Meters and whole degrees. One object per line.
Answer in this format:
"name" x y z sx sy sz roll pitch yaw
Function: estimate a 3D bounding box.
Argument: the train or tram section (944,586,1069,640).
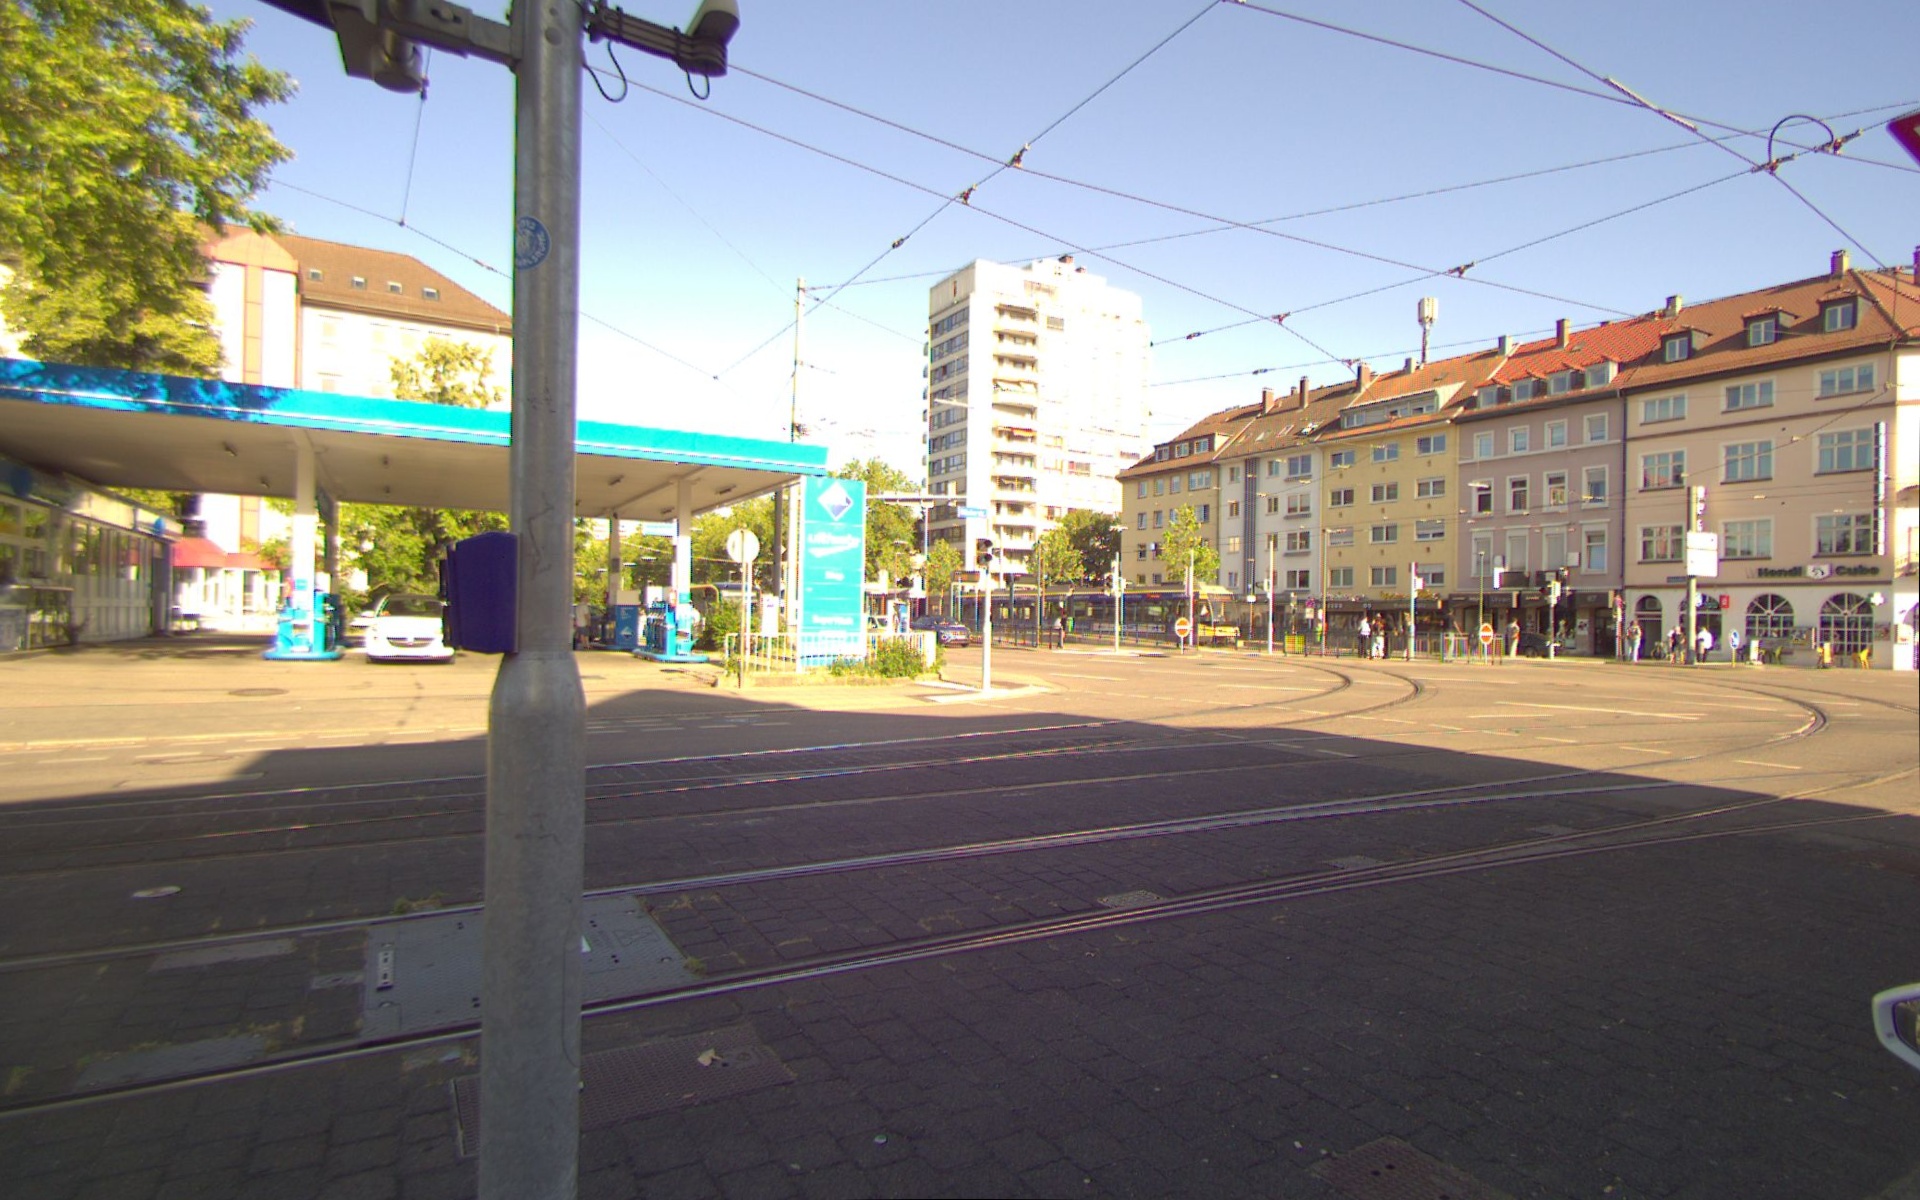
"train or tram section" 3.072 0.941 71.800 2.748 3.546 11.928 1 -1 -31

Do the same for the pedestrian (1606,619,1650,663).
"pedestrian" 26.653 1.614 40.074 1.091 1.707 1.075 1 -1 -30

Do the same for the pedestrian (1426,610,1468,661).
"pedestrian" 17.501 1.265 36.096 0.927 1.798 1.005 1 -1 -19

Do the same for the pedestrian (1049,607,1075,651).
"pedestrian" 4.478 1.254 43.926 1.084 1.870 1.171 1 -1 8

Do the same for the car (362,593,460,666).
"car" -12.311 0.634 22.510 1.760 1.483 3.968 1 -1 -30

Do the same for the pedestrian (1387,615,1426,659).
"pedestrian" 16.615 1.369 37.363 0.924 1.619 1.008 1 -1 -9

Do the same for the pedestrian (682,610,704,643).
"pedestrian" -12.869 1.282 48.391 0.907 1.595 0.959 1 -1 -22

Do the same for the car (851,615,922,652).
"car" -3.470 1.528 46.741 1.863 1.601 3.971 1 -1 -28

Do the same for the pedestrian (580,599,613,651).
"pedestrian" -11.685 0.800 32.282 0.803 1.647 1.155 1 -1 -30

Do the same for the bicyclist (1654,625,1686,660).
"bicyclist" 36.576 2.180 51.777 0.740 1.798 1.159 1 -1 -31

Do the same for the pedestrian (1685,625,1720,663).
"pedestrian" 35.740 2.102 48.377 0.993 1.798 0.938 1 -1 -16

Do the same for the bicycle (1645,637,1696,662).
"bicycle" 36.533 2.544 51.696 0.623 1.197 2.081 1 -1 -29

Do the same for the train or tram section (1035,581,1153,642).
"train or tram section" 8.239 0.712 63.088 2.791 3.546 8.392 1 -1 -31

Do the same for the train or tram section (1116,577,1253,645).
"train or tram section" 12.360 0.618 56.108 2.792 3.546 7.895 1 -1 -31

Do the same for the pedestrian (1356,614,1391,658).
"pedestrian" 15.556 1.339 37.793 0.922 1.619 1.010 1 -1 3

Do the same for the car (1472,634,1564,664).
"car" 30.434 2.636 54.912 1.977 1.472 3.966 1 -1 -31

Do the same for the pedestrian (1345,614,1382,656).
"pedestrian" 15.753 1.353 39.256 0.925 1.619 1.007 1 -1 -13

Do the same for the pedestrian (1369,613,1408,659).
"pedestrian" 15.618 1.301 36.623 0.923 1.619 1.009 1 -1 -4

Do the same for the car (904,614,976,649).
"car" -0.991 1.489 48.241 1.863 1.601 3.971 1 -1 -28

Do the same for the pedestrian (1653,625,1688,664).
"pedestrian" 34.078 2.126 48.209 0.926 1.798 1.006 1 -1 -15

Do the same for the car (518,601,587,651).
"car" -13.443 0.838 33.019 1.725 1.431 4.061 5 -2 -26
